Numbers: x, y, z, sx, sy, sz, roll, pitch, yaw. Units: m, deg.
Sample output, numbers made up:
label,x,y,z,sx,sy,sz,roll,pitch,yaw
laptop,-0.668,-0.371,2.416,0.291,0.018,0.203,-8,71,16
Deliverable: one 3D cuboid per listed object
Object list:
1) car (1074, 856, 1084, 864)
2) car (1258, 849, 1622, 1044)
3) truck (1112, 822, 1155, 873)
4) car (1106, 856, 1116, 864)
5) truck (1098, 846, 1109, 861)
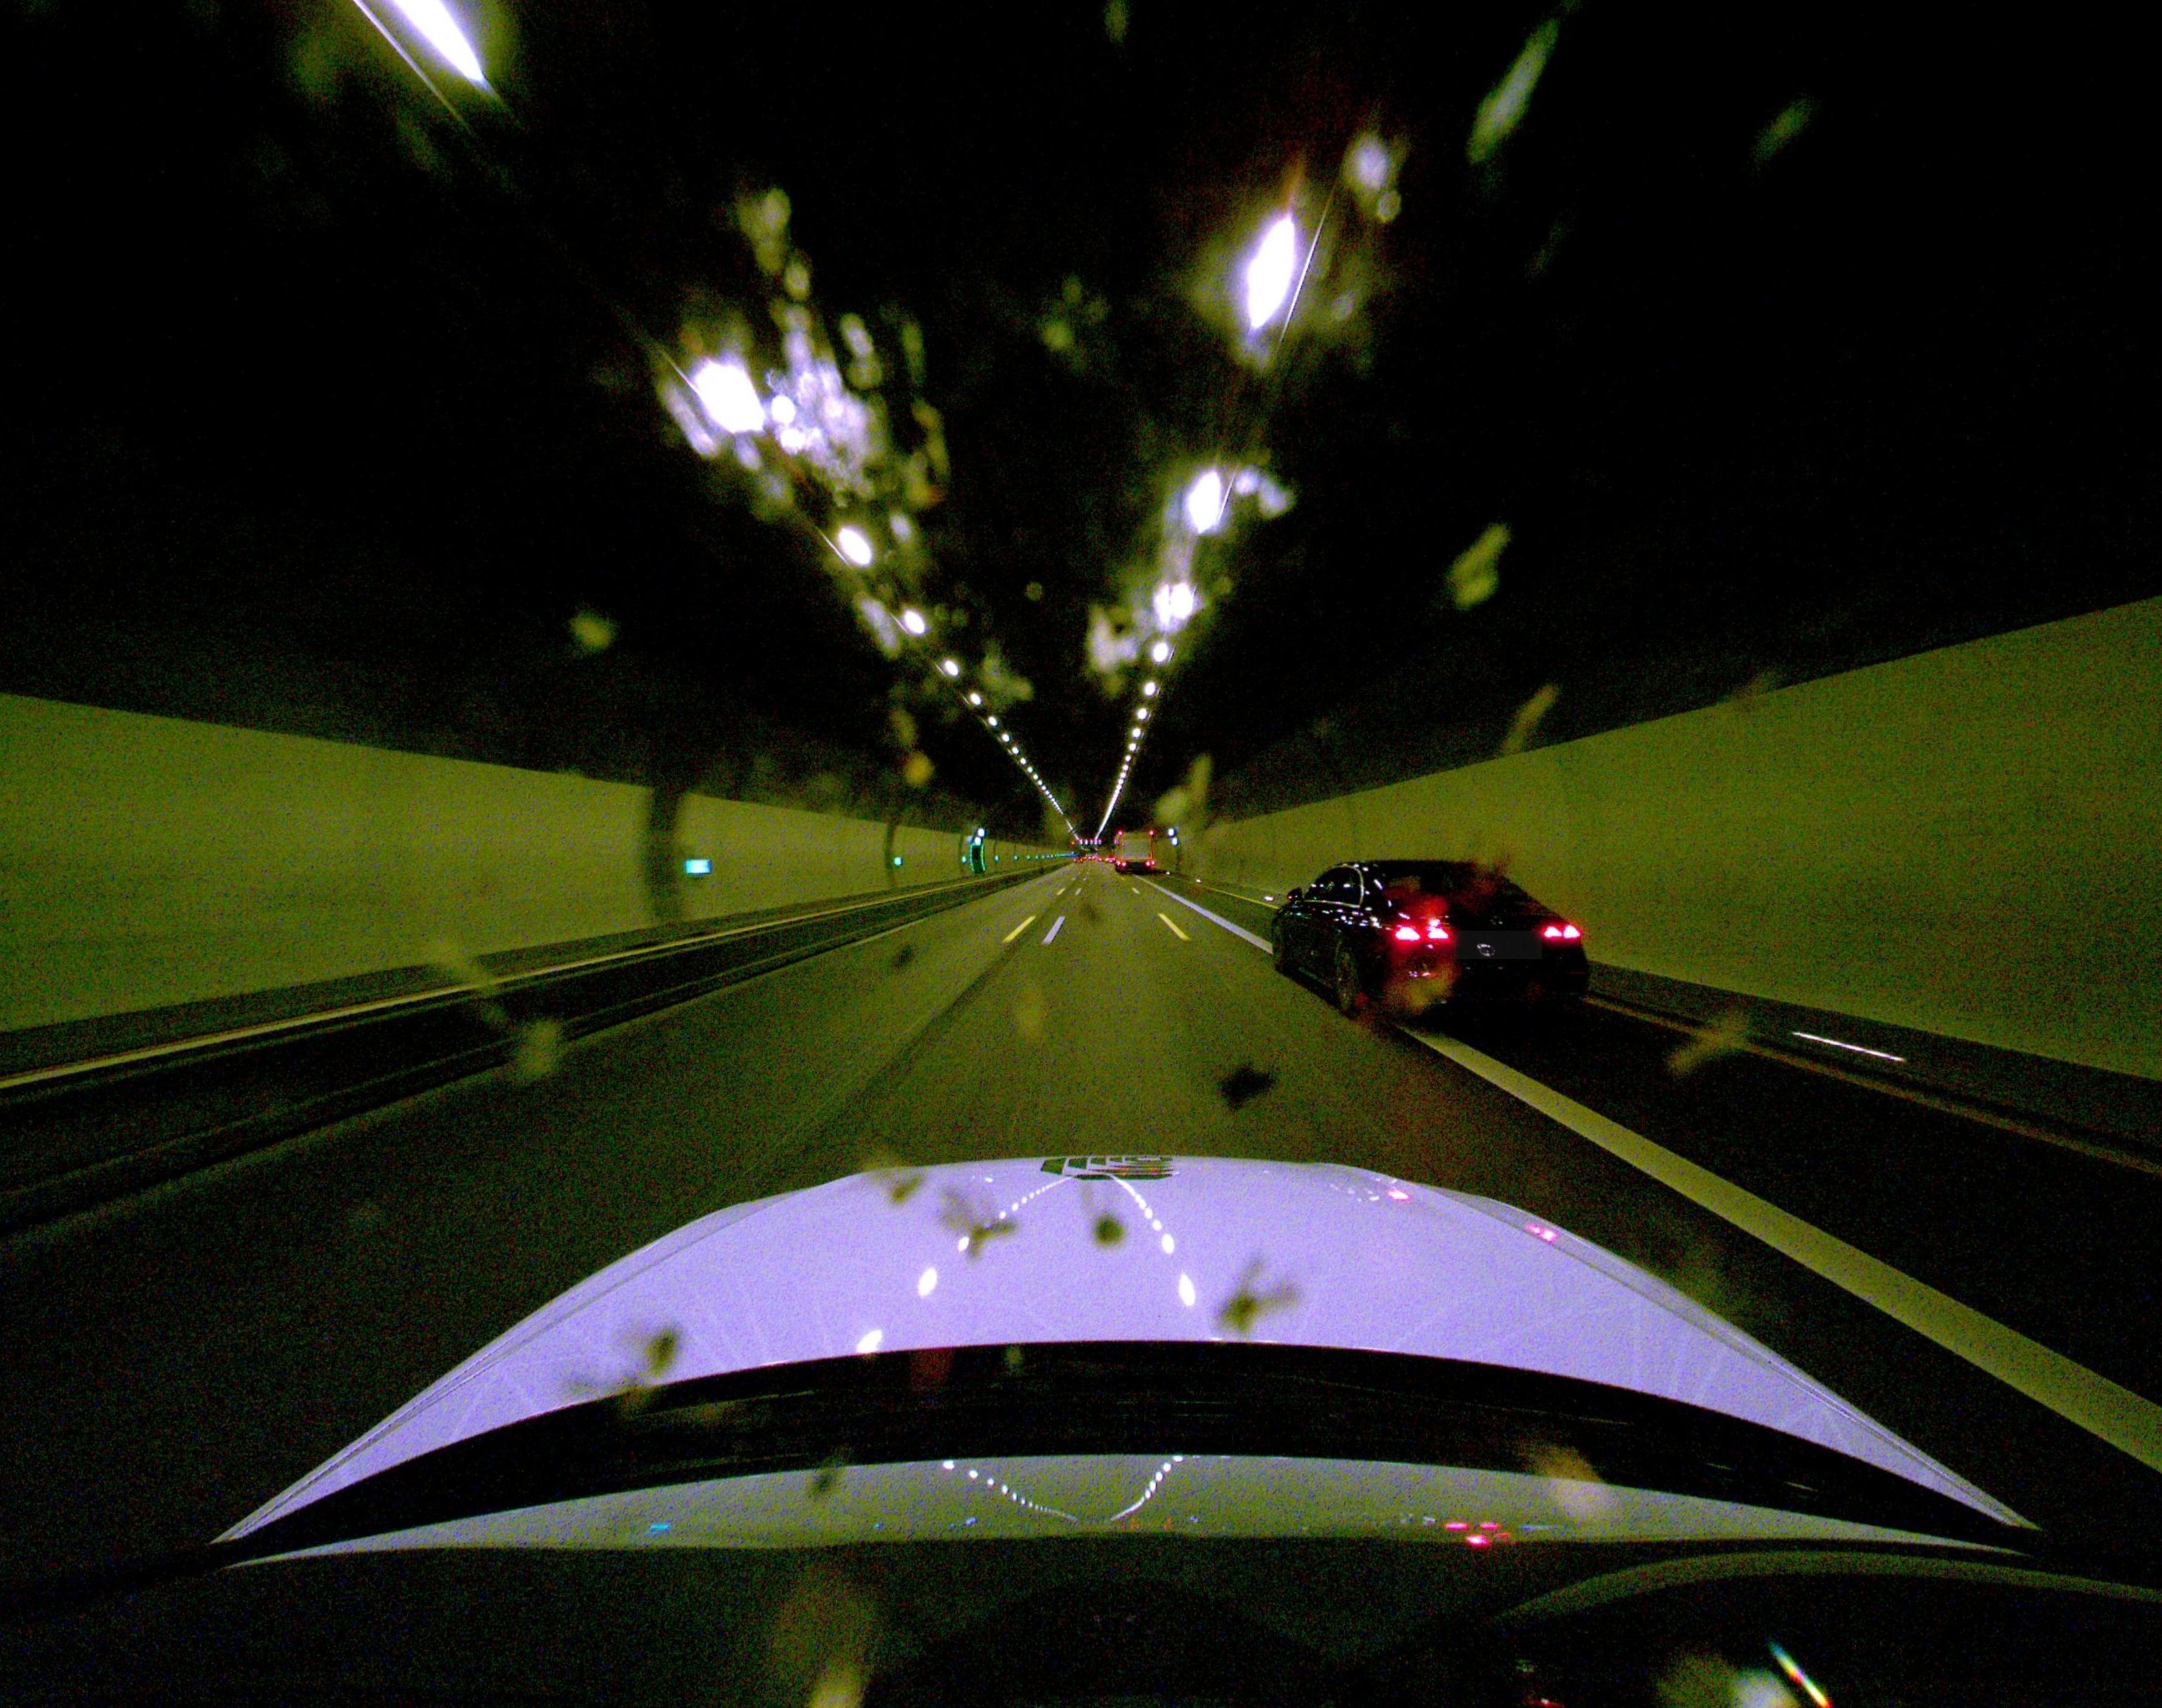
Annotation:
label,x,y,z,sx,sy,sz,roll,pitch,yaw
car,-0.329,1.115,158.707,1.752,1.461,4.119,1,0,1
car,3.335,0.751,8.824,1.918,1.472,4.956,1,-1,2
truck,4.333,-0.391,69.364,3.081,3.918,10.368,2,-1,1
car,5.817,1.061,157.342,1.733,1.461,3.962,1,0,2
truck,6.704,-0.124,237.666,3.054,3.918,10.372,2,-1,2
